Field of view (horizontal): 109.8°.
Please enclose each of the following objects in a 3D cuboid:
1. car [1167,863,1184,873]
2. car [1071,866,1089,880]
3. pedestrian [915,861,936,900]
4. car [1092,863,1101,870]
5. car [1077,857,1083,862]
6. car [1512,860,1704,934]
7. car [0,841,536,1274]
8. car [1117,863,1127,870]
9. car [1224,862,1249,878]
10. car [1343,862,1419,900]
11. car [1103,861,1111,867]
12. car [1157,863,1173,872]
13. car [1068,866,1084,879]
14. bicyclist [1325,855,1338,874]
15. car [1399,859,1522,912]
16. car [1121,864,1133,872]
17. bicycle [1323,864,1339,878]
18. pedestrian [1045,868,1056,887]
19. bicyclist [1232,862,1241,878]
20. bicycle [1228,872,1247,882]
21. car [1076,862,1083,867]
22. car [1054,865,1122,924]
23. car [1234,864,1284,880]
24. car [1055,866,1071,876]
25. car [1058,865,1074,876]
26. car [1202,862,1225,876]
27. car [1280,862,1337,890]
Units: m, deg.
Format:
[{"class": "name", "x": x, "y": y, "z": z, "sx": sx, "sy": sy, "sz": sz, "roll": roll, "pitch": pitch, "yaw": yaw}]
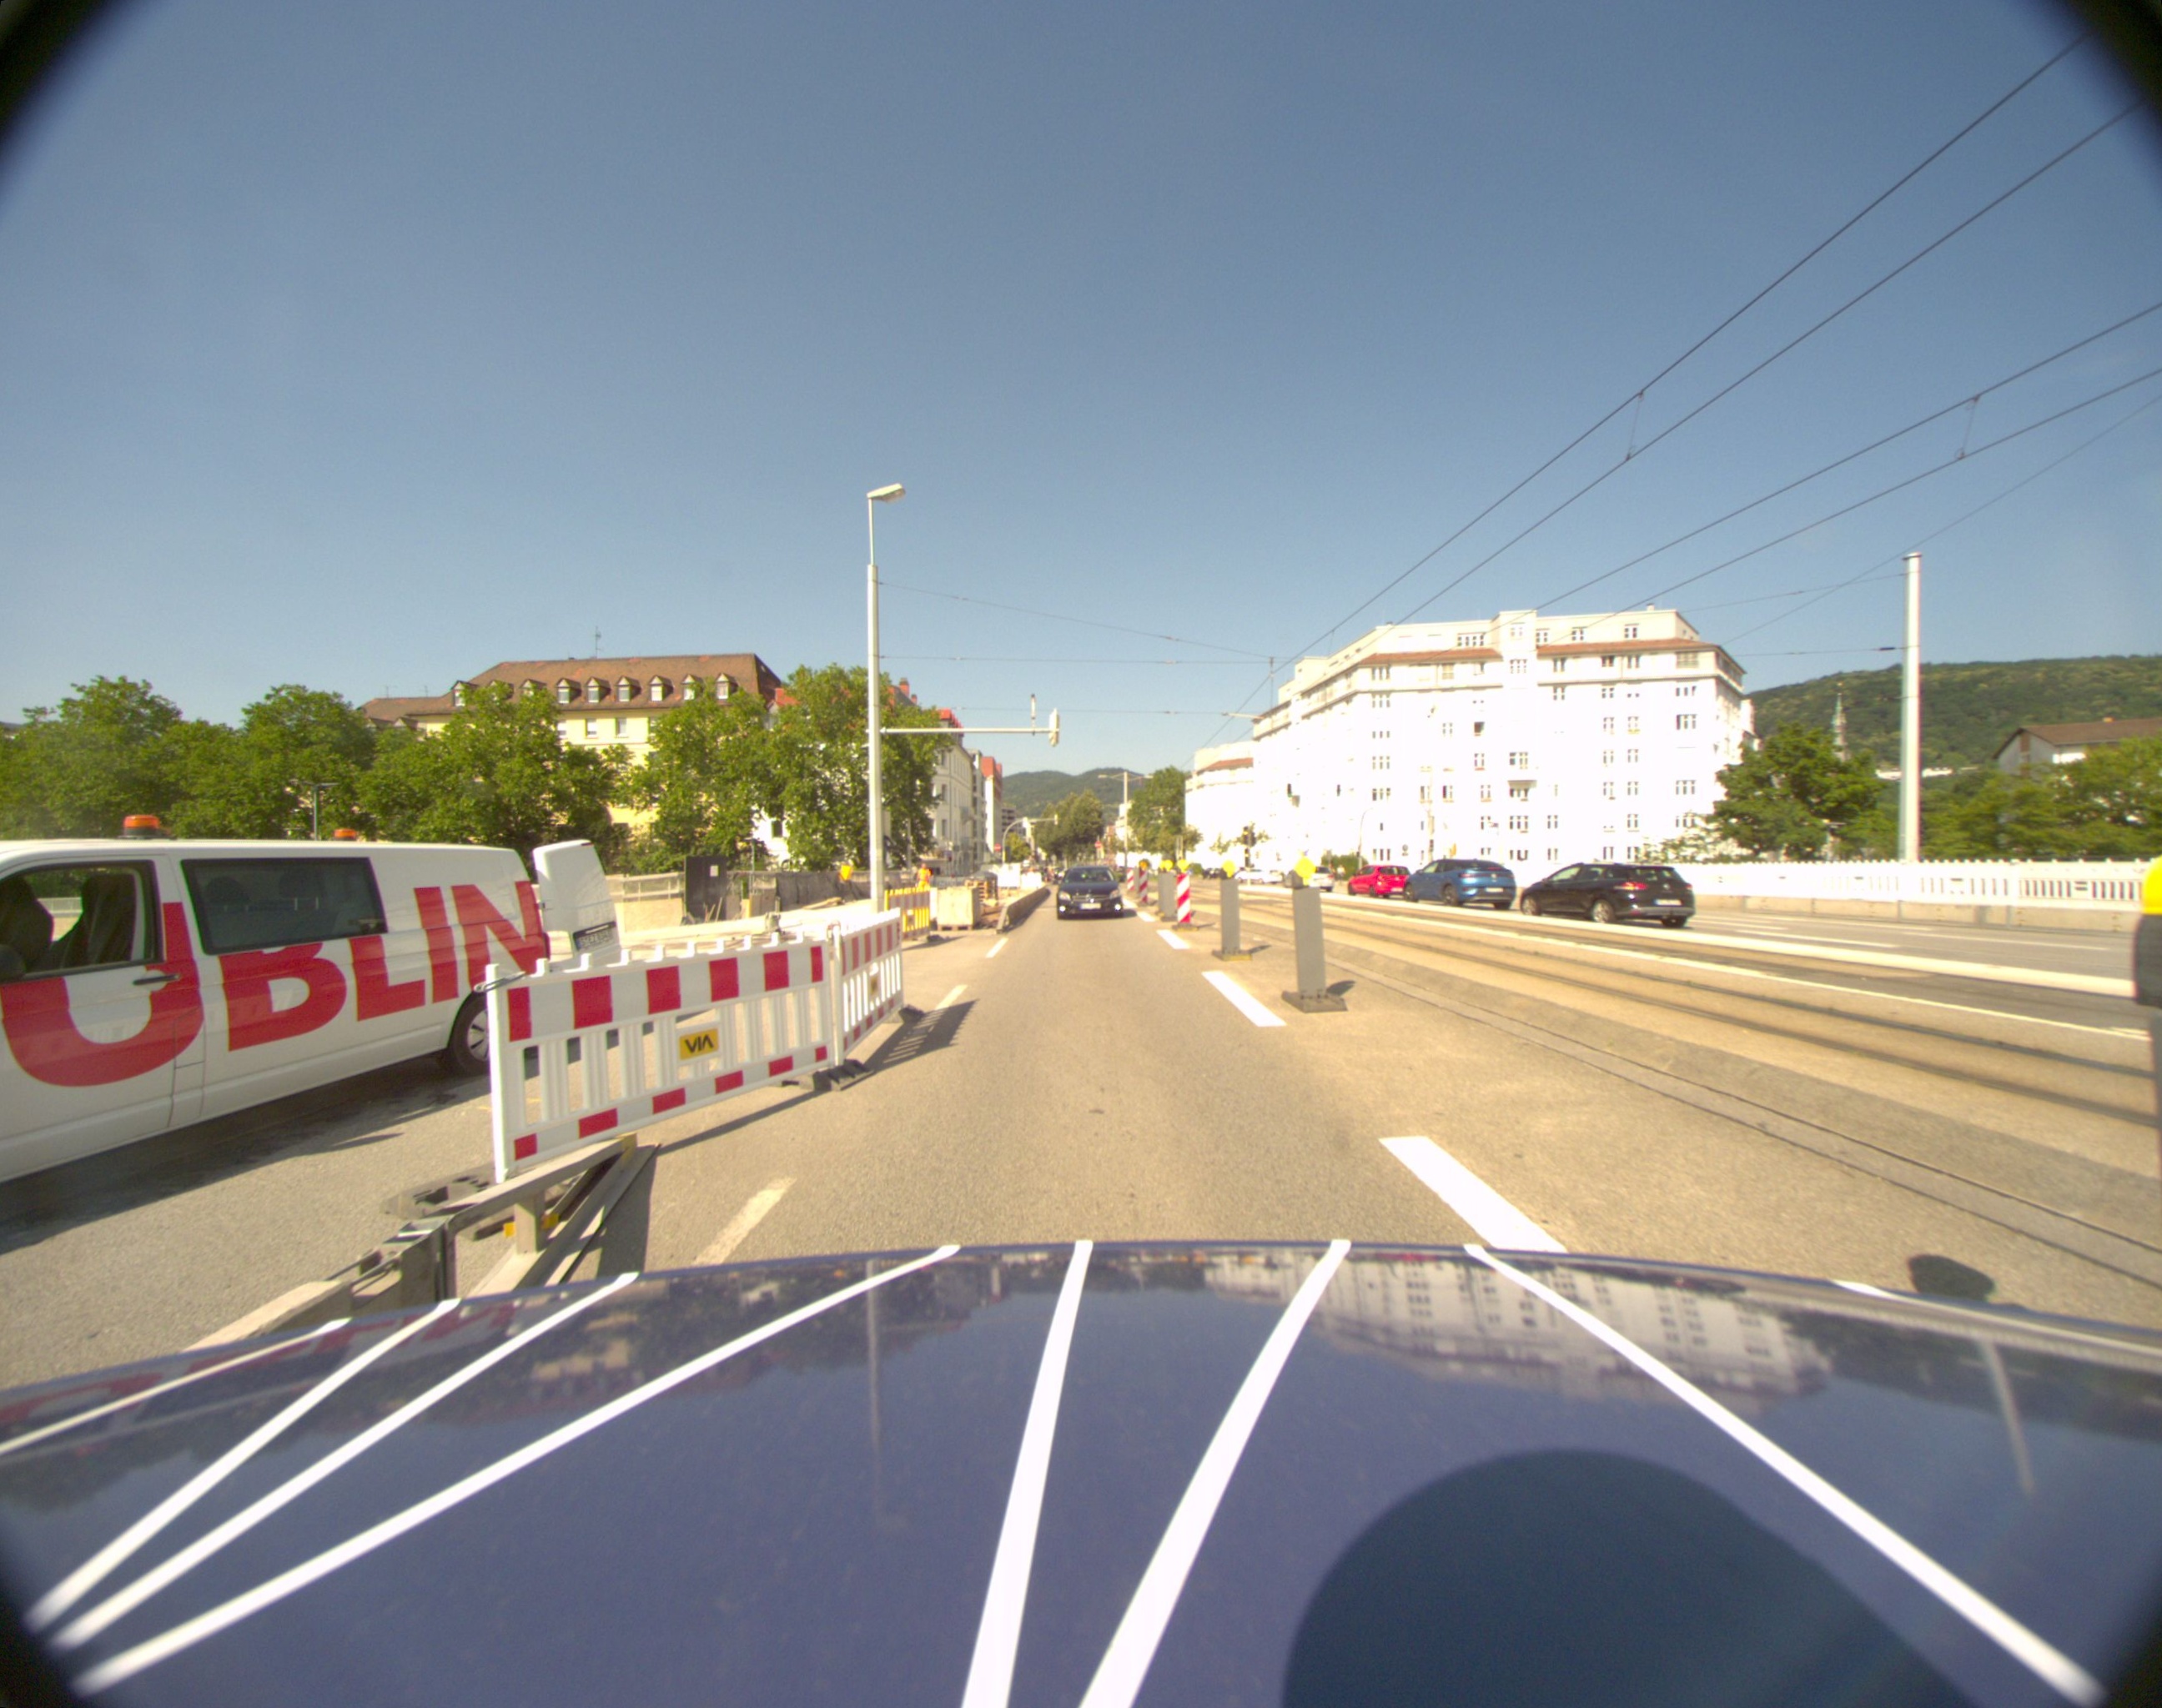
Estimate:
[{"class": "car", "x": 14.002, "y": 2.060, "z": 112.700, "sx": 1.740, "sy": 1.475, "sz": 3.739, "roll": -1, "pitch": 0, "yaw": -5}, {"class": "car", "x": -0.105, "y": 1.949, "z": 78.623, "sx": 1.767, "sy": 1.313, "sz": 4.001, "roll": -2, "pitch": -1, "yaw": 1}, {"class": "pedestrian", "x": -7.343, "y": 1.250, "z": 35.979, "sx": 0.821, "sy": 1.784, "sz": 0.864, "roll": 1, "pitch": 0, "yaw": -1}, {"class": "car", "x": 3.485, "y": 2.686, "z": 167.993, "sx": 1.696, "sy": 1.546, "sz": 3.655, "roll": 0, "pitch": -1, "yaw": -4}, {"class": "car", "x": -0.205, "y": 1.761, "z": 253.121, "sx": 1.798, "sy": 1.672, "sz": 3.739, "roll": -1, "pitch": 0, "yaw": -3}, {"class": "car", "x": 11.972, "y": 0.890, "z": 17.632, "sx": 1.509, "sy": 1.491, "sz": 4.177, "roll": 1, "pitch": 0, "yaw": -1}, {"class": "car", "x": -5.992, "y": 0.977, "z": 4.466, "sx": 1.883, "sy": 2.021, "sz": 4.891, "roll": -2, "pitch": 0, "yaw": 1}, {"class": "car", "x": 8.823, "y": 2.621, "z": 164.577, "sx": 1.740, "sy": 1.475, "sz": 3.739, "roll": -1, "pitch": 0, "yaw": -5}, {"class": "car", "x": 17.041, "y": 1.741, "z": 83.457, "sx": 1.740, "sy": 1.628, "sz": 3.739, "roll": -1, "pitch": 0, "yaw": -5}, {"class": "car", "x": 12.382, "y": 1.071, "z": 31.610, "sx": 1.537, "sy": 1.429, "sz": 3.980, "roll": 1, "pitch": 0, "yaw": 0}, {"class": "car", "x": 6.631, "y": 2.625, "z": 192.570, "sx": 1.739, "sy": 1.475, "sz": 3.739, "roll": -1, "pitch": 0, "yaw": -3}, {"class": "car", "x": 13.213, "y": 2.101, "z": 120.018, "sx": 1.740, "sy": 1.475, "sz": 3.739, "roll": -1, "pitch": 0, "yaw": -5}, {"class": "car", "x": -0.566, "y": 2.082, "z": 85.695, "sx": 1.767, "sy": 1.346, "sz": 4.000, "roll": -2, "pitch": -1, "yaw": -1}, {"class": "bicyclist", "x": 20.970, "y": 0.857, "z": 63.657, "sx": 0.623, "sy": 1.580, "sz": 0.917, "roll": -3, "pitch": 0, "yaw": -5}, {"class": "car", "x": 12.042, "y": 0.951, "z": 24.472, "sx": 1.674, "sy": 1.541, "sz": 4.556, "roll": 0, "pitch": 0, "yaw": 0}, {"class": "car", "x": 8.059, "y": 2.458, "z": 132.843, "sx": 1.594, "sy": 1.484, "sz": 3.661, "roll": 0, "pitch": -1, "yaw": -4}, {"class": "bicycle", "x": 20.984, "y": 1.394, "z": 63.724, "sx": 0.618, "sy": 1.093, "sz": 1.785, "roll": -3, "pitch": 1, "yaw": -4}, {"class": "pedestrian", "x": -2.854, "y": 2.167, "z": 71.163, "sx": 1.003, "sy": 1.697, "sz": 0.822, "roll": -1, "pitch": 1, "yaw": -7}, {"class": "bicyclist", "x": 15.194, "y": 1.558, "z": 74.322, "sx": 0.783, "sy": 1.541, "sz": 0.711, "roll": -1, "pitch": 1, "yaw": 10}, {"class": "bicycle", "x": 15.305, "y": 2.245, "z": 74.324, "sx": 1.816, "sy": 0.985, "sz": 0.711, "roll": -1, "pitch": 1, "yaw": 10}, {"class": "car", "x": -0.414, "y": 2.976, "z": 212.586, "sx": 1.798, "sy": 1.475, "sz": 3.739, "roll": -1, "pitch": 0, "yaw": -3}, {"class": "car", "x": 0.296, "y": 1.077, "z": 21.773, "sx": 1.702, "sy": 1.399, "sz": 4.624, "roll": -2, "pitch": 0, "yaw": 3}, {"class": "car", "x": 15.930, "y": 1.610, "z": 68.128, "sx": 1.705, "sy": 1.403, "sz": 4.475, "roll": 1, "pitch": -1, "yaw": -31}, {"class": "car", "x": -2.548, "y": 2.386, "z": 105.792, "sx": 1.768, "sy": 1.346, "sz": 3.998, "roll": -2, "pitch": -1, "yaw": -6}, {"class": "car", "x": -1.955, "y": 2.152, "z": 98.172, "sx": 1.767, "sy": 1.346, "sz": 3.999, "roll": -2, "pitch": -1, "yaw": -4}, {"class": "car", "x": 16.071, "y": 1.859, "z": 92.110, "sx": 1.740, "sy": 1.628, "sz": 3.738, "roll": -1, "pitch": 0, "yaw": -7}, {"class": "car", "x": 12.125, "y": 1.138, "z": 40.786, "sx": 1.642, "sy": 1.428, "sz": 4.643, "roll": 1, "pitch": -1, "yaw": 0}]
